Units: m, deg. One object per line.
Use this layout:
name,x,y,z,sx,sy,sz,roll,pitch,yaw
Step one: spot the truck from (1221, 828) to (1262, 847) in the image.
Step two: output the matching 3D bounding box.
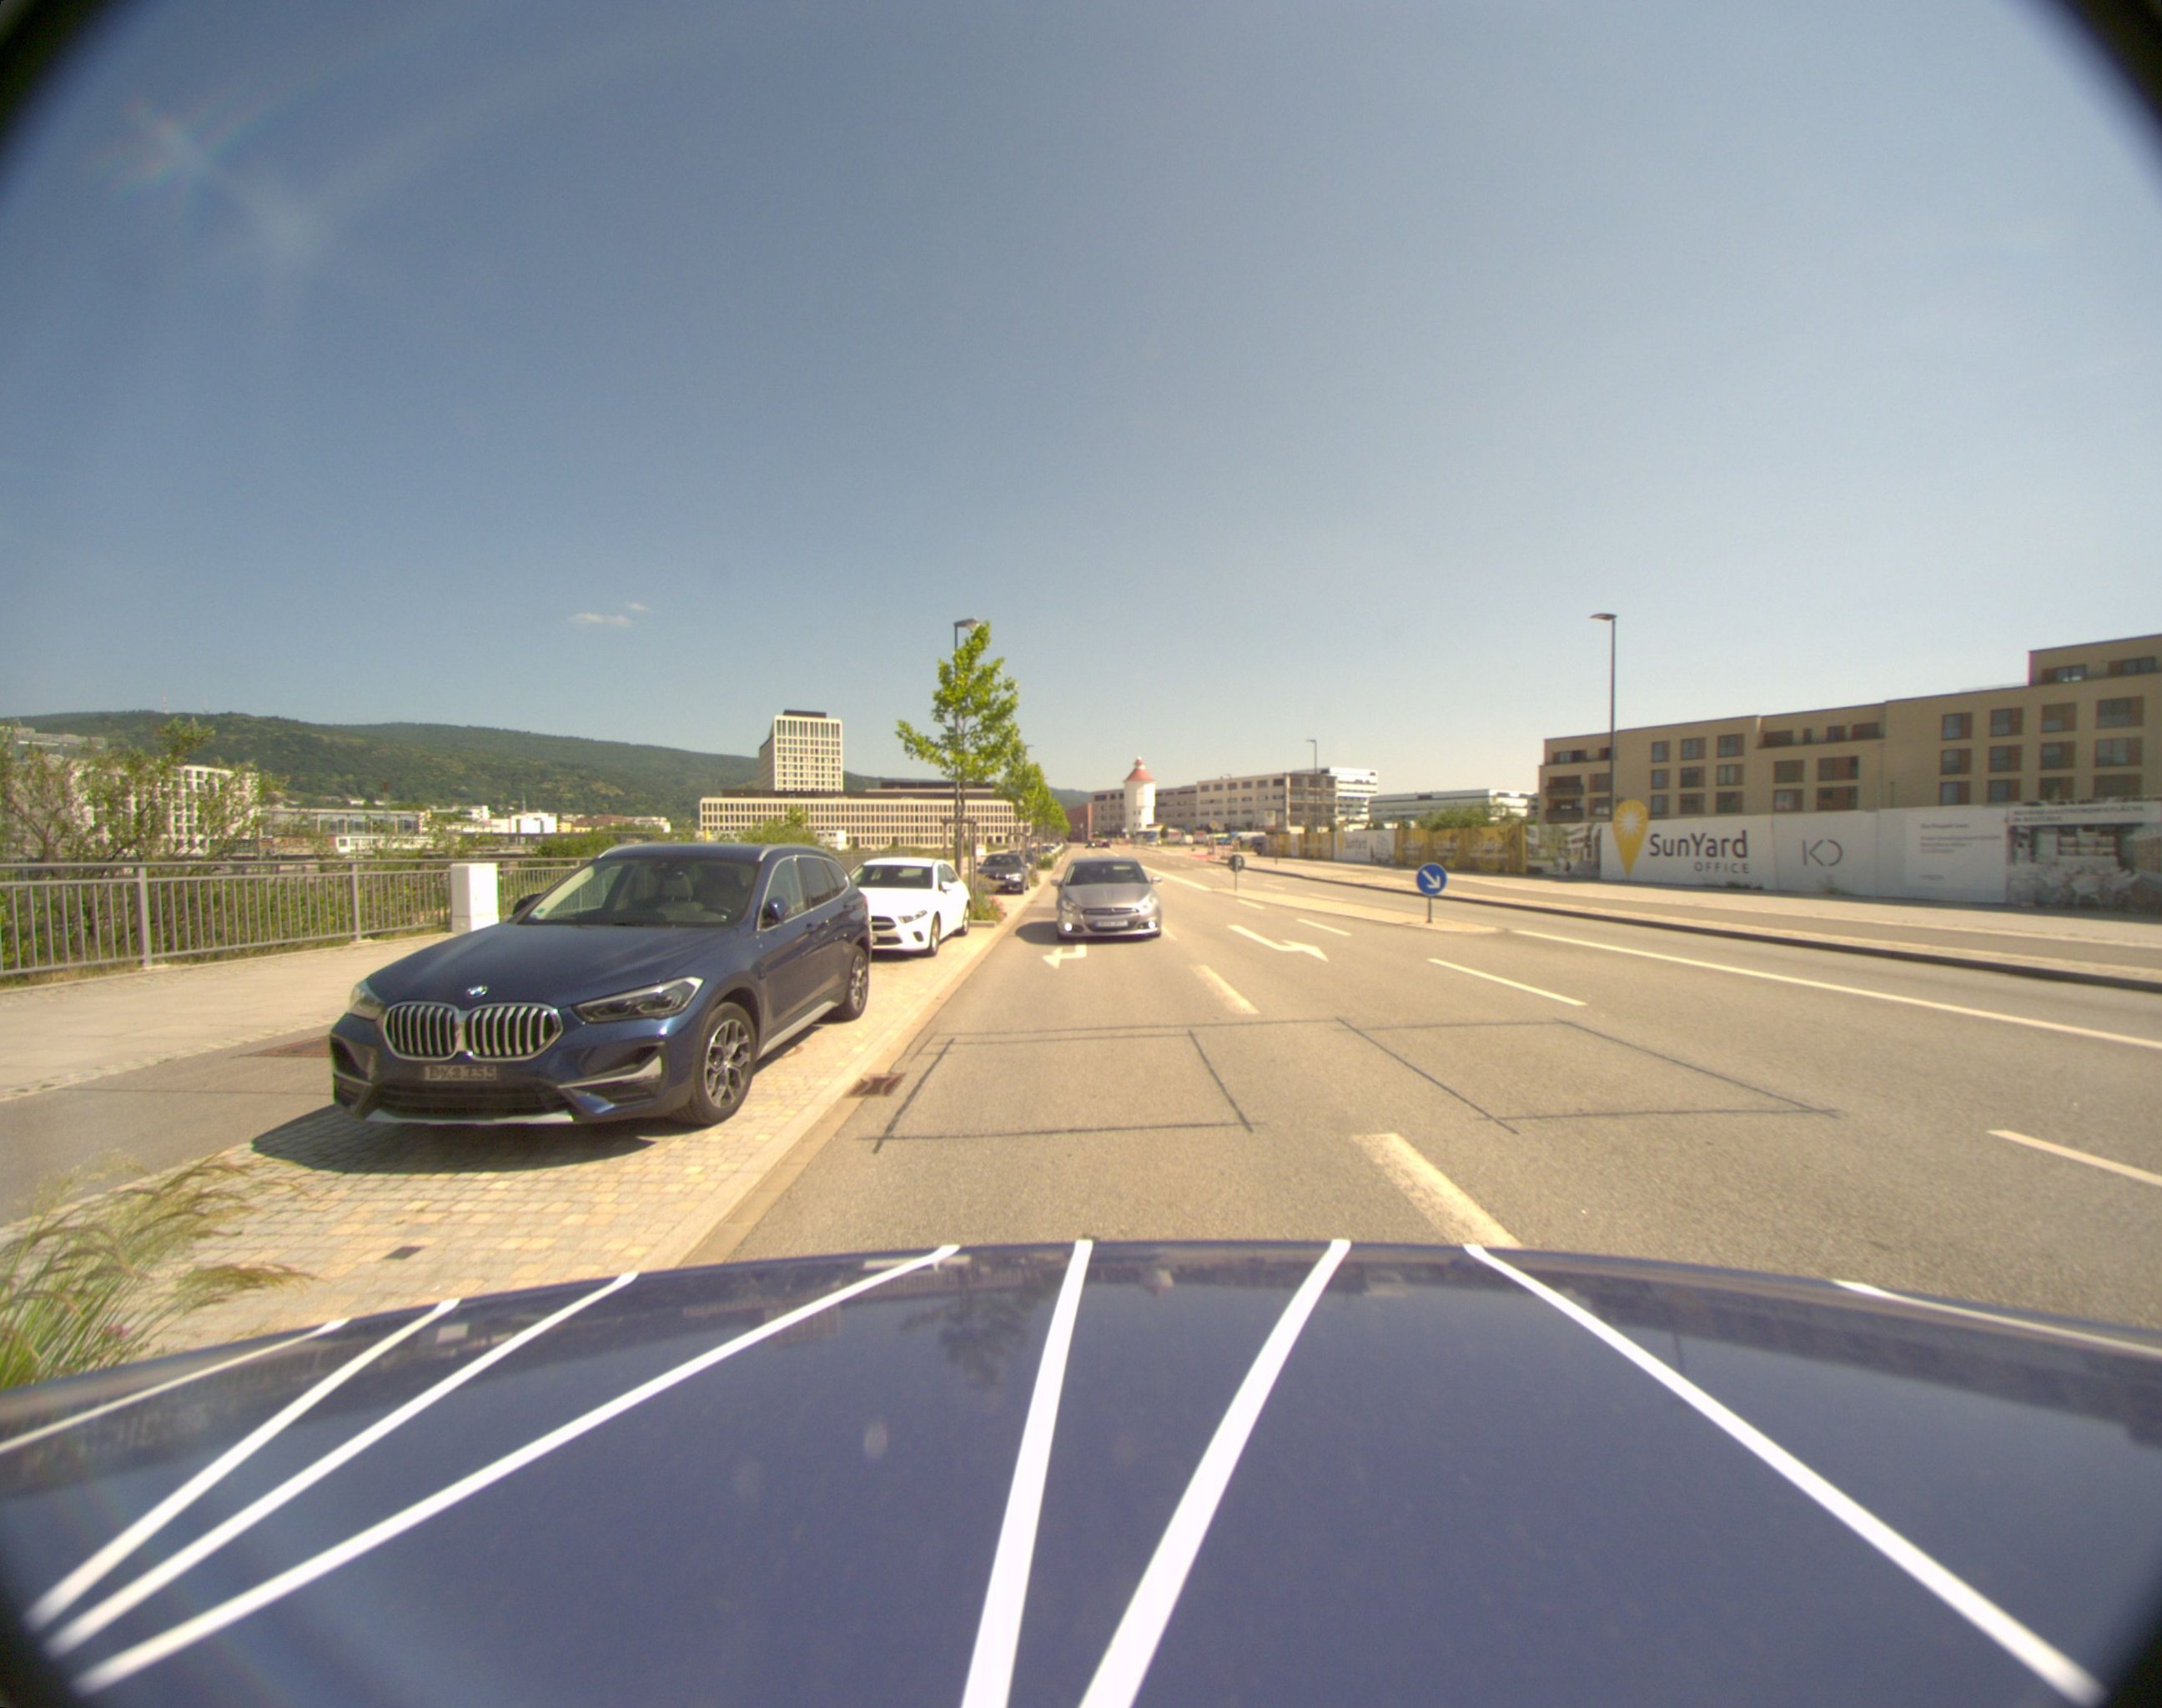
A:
truck,23.909,-2.472,113.405,5.633,2.461,1.999,-3,1,-4

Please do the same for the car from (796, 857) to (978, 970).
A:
car,-2.923,0.813,12.439,1.710,1.366,4.270,2,1,2

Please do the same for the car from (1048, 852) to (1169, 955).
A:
car,0.467,0.771,13.984,1.820,1.459,4.346,-2,1,1

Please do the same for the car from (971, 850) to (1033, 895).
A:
car,-2.818,0.633,27.903,1.808,1.424,3.915,2,1,0

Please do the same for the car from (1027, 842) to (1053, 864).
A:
car,-3.247,-0.138,60.926,1.768,1.609,3.373,-3,1,0

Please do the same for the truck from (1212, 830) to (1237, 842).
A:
truck,33.364,-4.184,177.316,5.333,2.461,1.999,-3,1,-4

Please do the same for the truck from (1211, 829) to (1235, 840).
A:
truck,34.577,-4.675,185.354,5.412,2.461,1.999,-2,1,-2

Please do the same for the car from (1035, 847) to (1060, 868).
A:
car,-2.183,0.226,50.710,1.490,1.302,3.154,2,1,0

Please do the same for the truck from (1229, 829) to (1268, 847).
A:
truck,23.289,-2.252,105.719,5.005,2.215,1.999,-2,1,-1

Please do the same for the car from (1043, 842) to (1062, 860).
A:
car,-2.620,-0.287,70.666,1.526,1.482,3.504,-3,1,0

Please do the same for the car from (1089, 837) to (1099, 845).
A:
car,2.602,-2.595,152.690,1.819,1.458,4.347,-3,1,2

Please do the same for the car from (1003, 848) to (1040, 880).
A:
car,-2.922,0.464,38.006,1.569,1.465,3.006,2,1,0

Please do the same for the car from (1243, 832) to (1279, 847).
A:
car,22.884,-1.872,96.590,3.930,1.708,1.891,-3,1,-5

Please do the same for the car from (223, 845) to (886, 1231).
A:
car,-2.879,0.798,5.508,1.808,1.674,4.270,1,1,0

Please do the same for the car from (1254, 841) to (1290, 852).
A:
car,19.574,-0.743,77.892,3.359,0.947,1.293,-2,1,3
